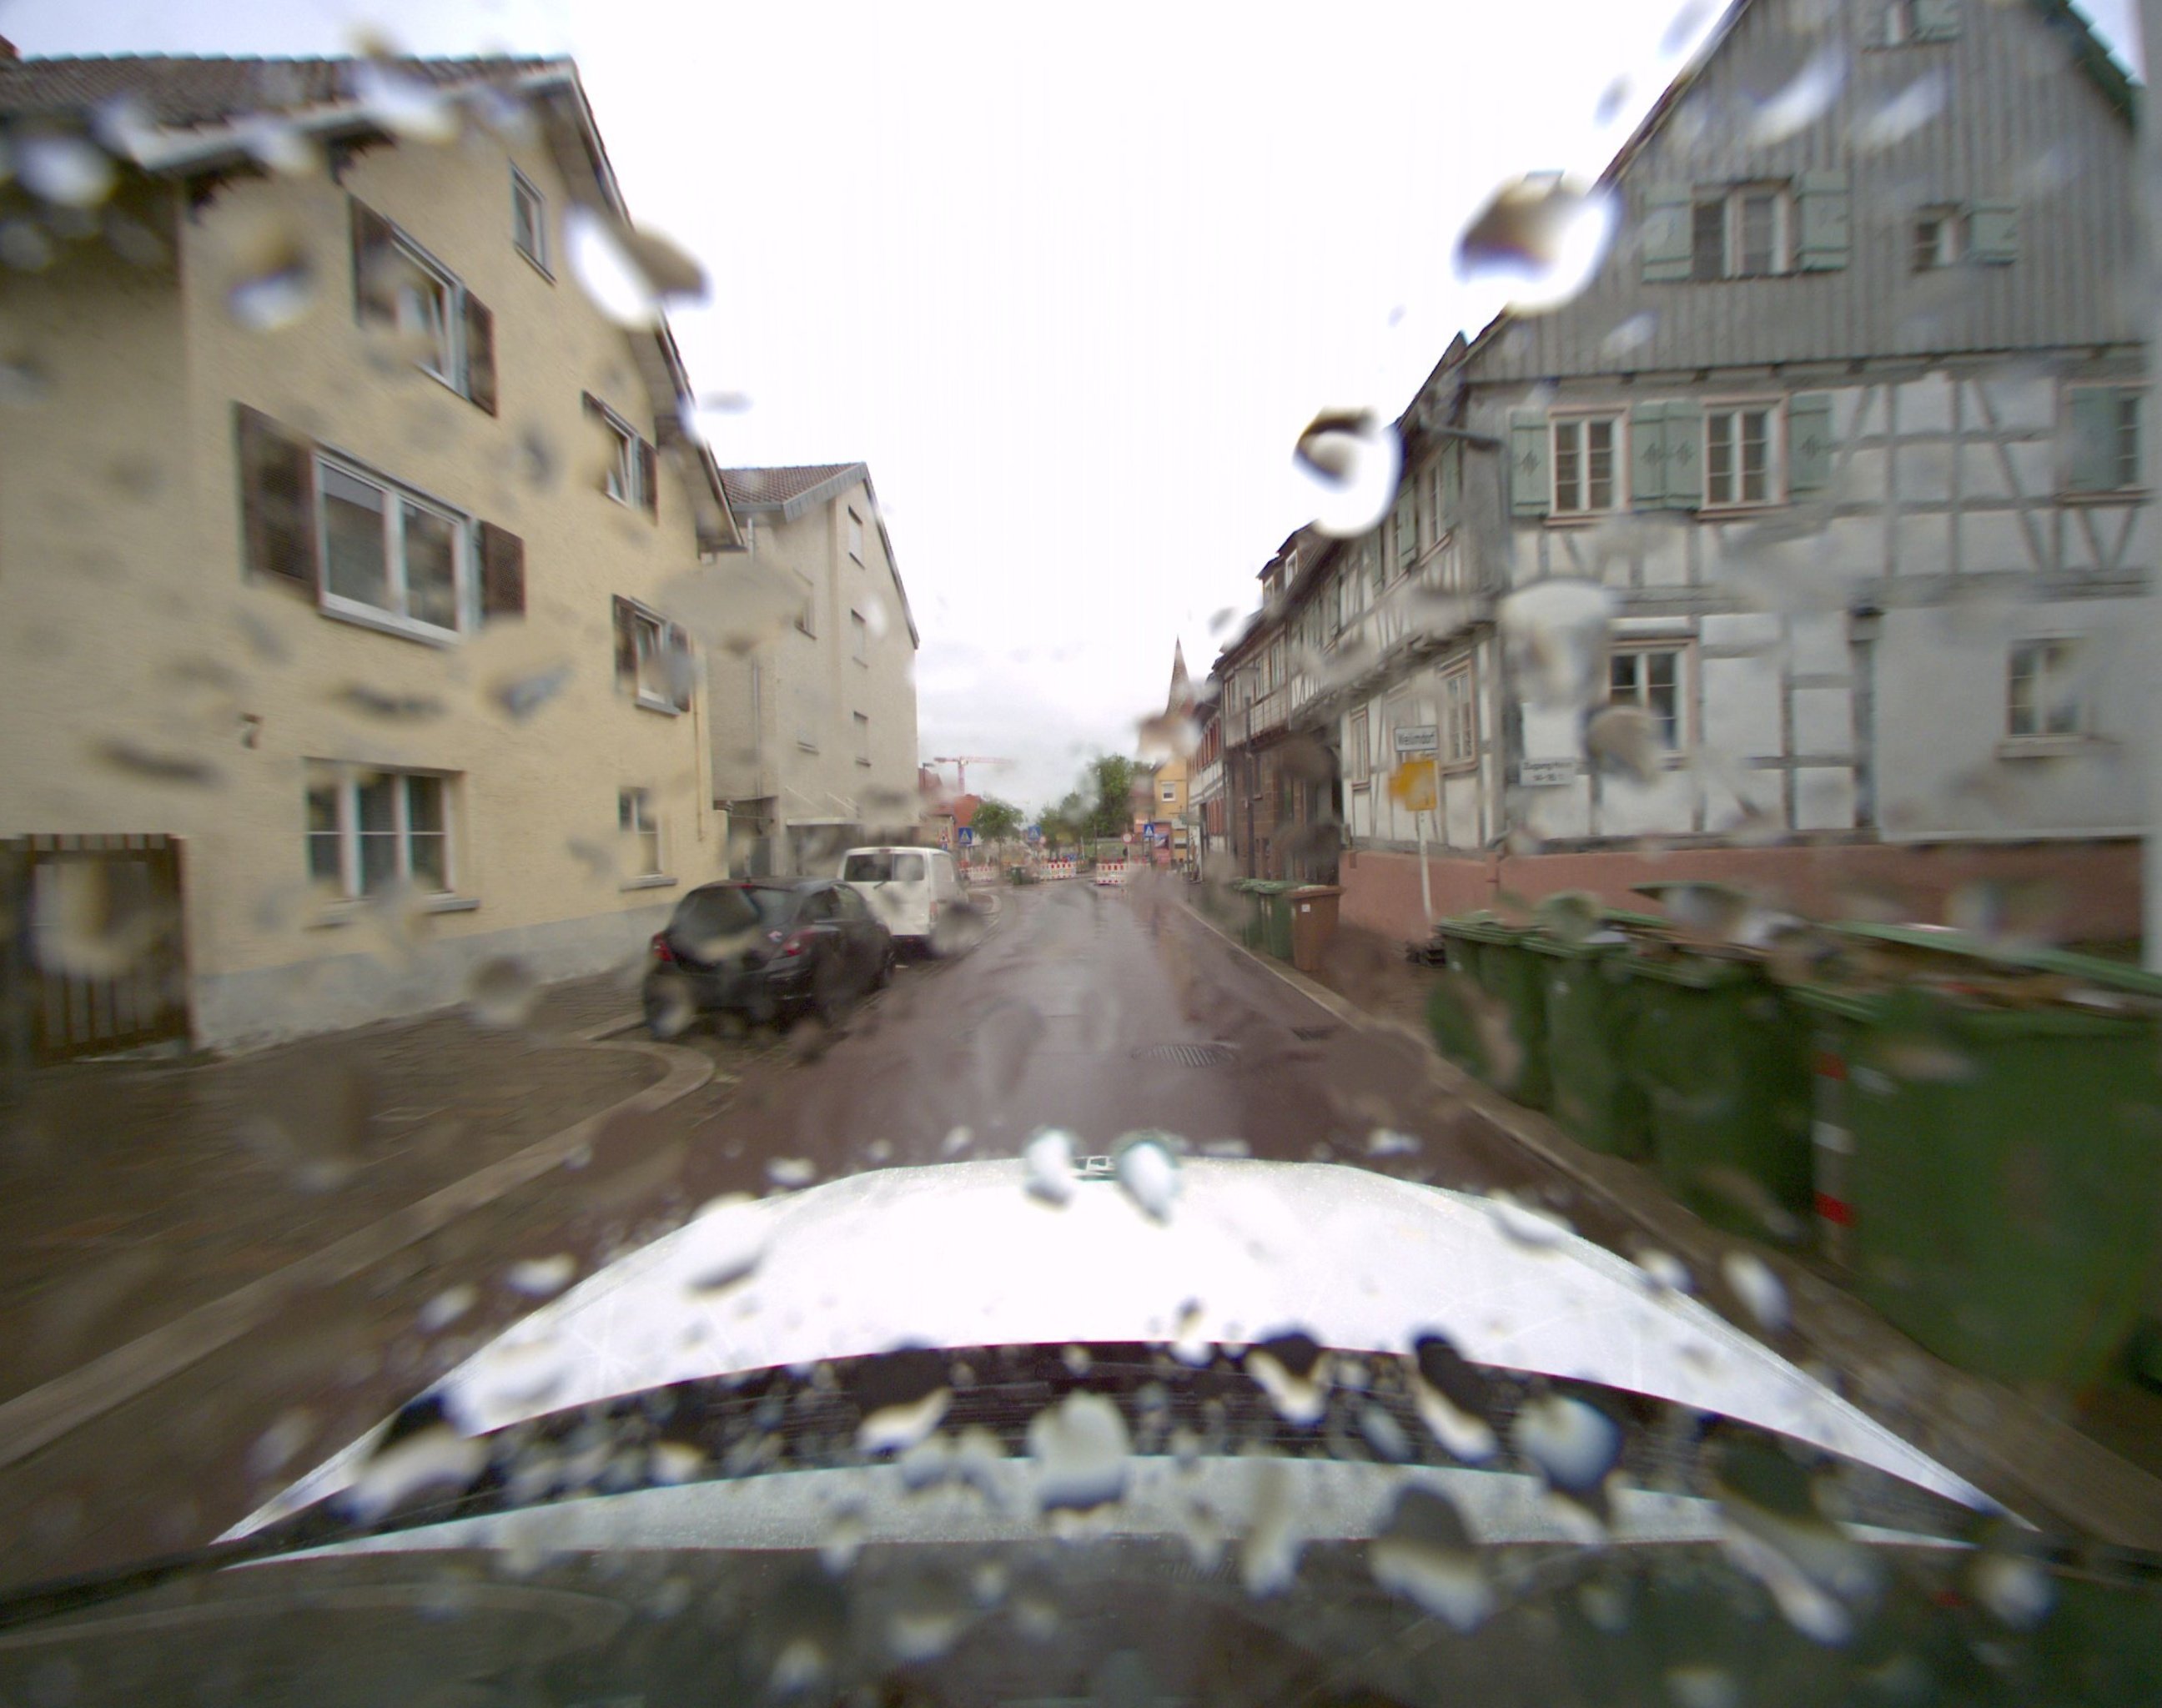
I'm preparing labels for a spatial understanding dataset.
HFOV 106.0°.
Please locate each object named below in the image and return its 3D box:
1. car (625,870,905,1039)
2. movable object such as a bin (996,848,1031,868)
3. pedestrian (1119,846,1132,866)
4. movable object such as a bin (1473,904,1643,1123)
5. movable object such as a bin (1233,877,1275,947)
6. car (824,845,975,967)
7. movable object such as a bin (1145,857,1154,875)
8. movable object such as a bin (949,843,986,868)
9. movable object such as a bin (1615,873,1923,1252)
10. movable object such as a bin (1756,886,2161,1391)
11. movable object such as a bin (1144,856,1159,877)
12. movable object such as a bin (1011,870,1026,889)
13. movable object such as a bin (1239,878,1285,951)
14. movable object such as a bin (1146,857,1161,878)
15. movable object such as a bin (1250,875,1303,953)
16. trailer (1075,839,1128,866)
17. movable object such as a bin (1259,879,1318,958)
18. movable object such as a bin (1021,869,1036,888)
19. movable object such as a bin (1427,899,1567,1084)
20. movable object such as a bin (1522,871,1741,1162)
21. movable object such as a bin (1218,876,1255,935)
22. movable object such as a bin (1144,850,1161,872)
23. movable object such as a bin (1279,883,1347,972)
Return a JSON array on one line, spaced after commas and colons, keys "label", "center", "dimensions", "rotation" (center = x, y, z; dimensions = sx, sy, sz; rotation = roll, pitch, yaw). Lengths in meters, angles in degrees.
[{"label": "car", "center": [-3.187, 0.919, 9.070], "dimensions": [1.676, 1.389, 3.823], "rotation": [-2, -1, -2]}, {"label": "movable object such as a bin", "center": [-7.539, 0.462, 90.810], "dimensions": [3.388, 2.014, 3.481], "rotation": [-2, -1, 2]}, {"label": "pedestrian", "center": [3.985, 0.164, 73.095], "dimensions": [0.988, 1.759, 0.850], "rotation": [-1, -1, -5]}, {"label": "movable object such as a bin", "center": [2.709, 0.878, 4.690], "dimensions": [0.613, 1.131, 0.633], "rotation": [-2, -1, 6]}, {"label": "movable object such as a bin", "center": [2.940, 0.974, 13.879], "dimensions": [0.634, 1.147, 0.581], "rotation": [-2, -1, 6]}, {"label": "car", "center": [-3.070, 0.816, 14.677], "dimensions": [1.718, 1.825, 4.427], "rotation": [-2, -1, -1]}, {"label": "movable object such as a bin", "center": [4.624, 0.801, 54.985], "dimensions": [0.515, 1.132, 0.581], "rotation": [-5, 1, 5]}, {"label": "movable object such as a bin", "center": [-9.734, 0.146, 70.257], "dimensions": [1.893, 2.013, 4.011], "rotation": [-4, -1, 10]}, {"label": "movable object such as a bin", "center": [2.596, 0.731, 3.153], "dimensions": [0.634, 1.290, 0.633], "rotation": [-2, -1, 6]}, {"label": "movable object such as a bin", "center": [2.630, 0.759, 2.463], "dimensions": [0.634, 1.290, 0.633], "rotation": [-2, -1, 6]}, {"label": "movable object such as a bin", "center": [3.823, 0.678, 44.242], "dimensions": [0.611, 1.066, 0.542], "rotation": [-4, -1, 18]}, {"label": "movable object such as a bin", "center": [-3.491, 1.416, 45.724], "dimensions": [0.535, 1.037, 0.576], "rotation": [-5, -2, 35]}, {"label": "movable object such as a bin", "center": [2.936, 0.972, 13.248], "dimensions": [0.634, 1.147, 0.605], "rotation": [-2, -1, 6]}, {"label": "movable object such as a bin", "center": [3.885, 0.708, 43.637], "dimensions": [0.678, 1.065, 0.539], "rotation": [-4, 3, -6]}, {"label": "movable object such as a bin", "center": [3.004, 0.908, 12.563], "dimensions": [0.636, 1.147, 0.632], "rotation": [-1, -1, -1]}, {"label": "trailer", "center": [2.331, -0.179, 92.335], "dimensions": [5.769, 2.947, 1.997], "rotation": [-1, -1, -4]}, {"label": "movable object such as a bin", "center": [3.028, 0.930, 11.925], "dimensions": [0.667, 1.081, 0.587], "rotation": [-3, -1, 0]}, {"label": "movable object such as a bin", "center": [-2.938, 1.369, 45.397], "dimensions": [0.538, 1.033, 0.538], "rotation": [-5, -3, 35]}, {"label": "movable object such as a bin", "center": [2.764, 0.888, 5.471], "dimensions": [0.613, 1.131, 0.633], "rotation": [-2, -1, 4]}, {"label": "movable object such as a bin", "center": [2.645, 0.740, 3.986], "dimensions": [0.634, 1.290, 0.633], "rotation": [-2, -1, 6]}, {"label": "movable object such as a bin", "center": [3.069, 1.008, 16.145], "dimensions": [0.607, 1.127, 0.599], "rotation": [-2, -1, 1]}, {"label": "movable object such as a bin", "center": [5.459, 0.529, 61.764], "dimensions": [1.059, 1.512, 1.245], "rotation": [-5, 0, 9]}, {"label": "movable object such as a bin", "center": [3.018, 0.941, 10.628], "dimensions": [0.676, 1.096, 0.650], "rotation": [-1, 0, -2]}]
